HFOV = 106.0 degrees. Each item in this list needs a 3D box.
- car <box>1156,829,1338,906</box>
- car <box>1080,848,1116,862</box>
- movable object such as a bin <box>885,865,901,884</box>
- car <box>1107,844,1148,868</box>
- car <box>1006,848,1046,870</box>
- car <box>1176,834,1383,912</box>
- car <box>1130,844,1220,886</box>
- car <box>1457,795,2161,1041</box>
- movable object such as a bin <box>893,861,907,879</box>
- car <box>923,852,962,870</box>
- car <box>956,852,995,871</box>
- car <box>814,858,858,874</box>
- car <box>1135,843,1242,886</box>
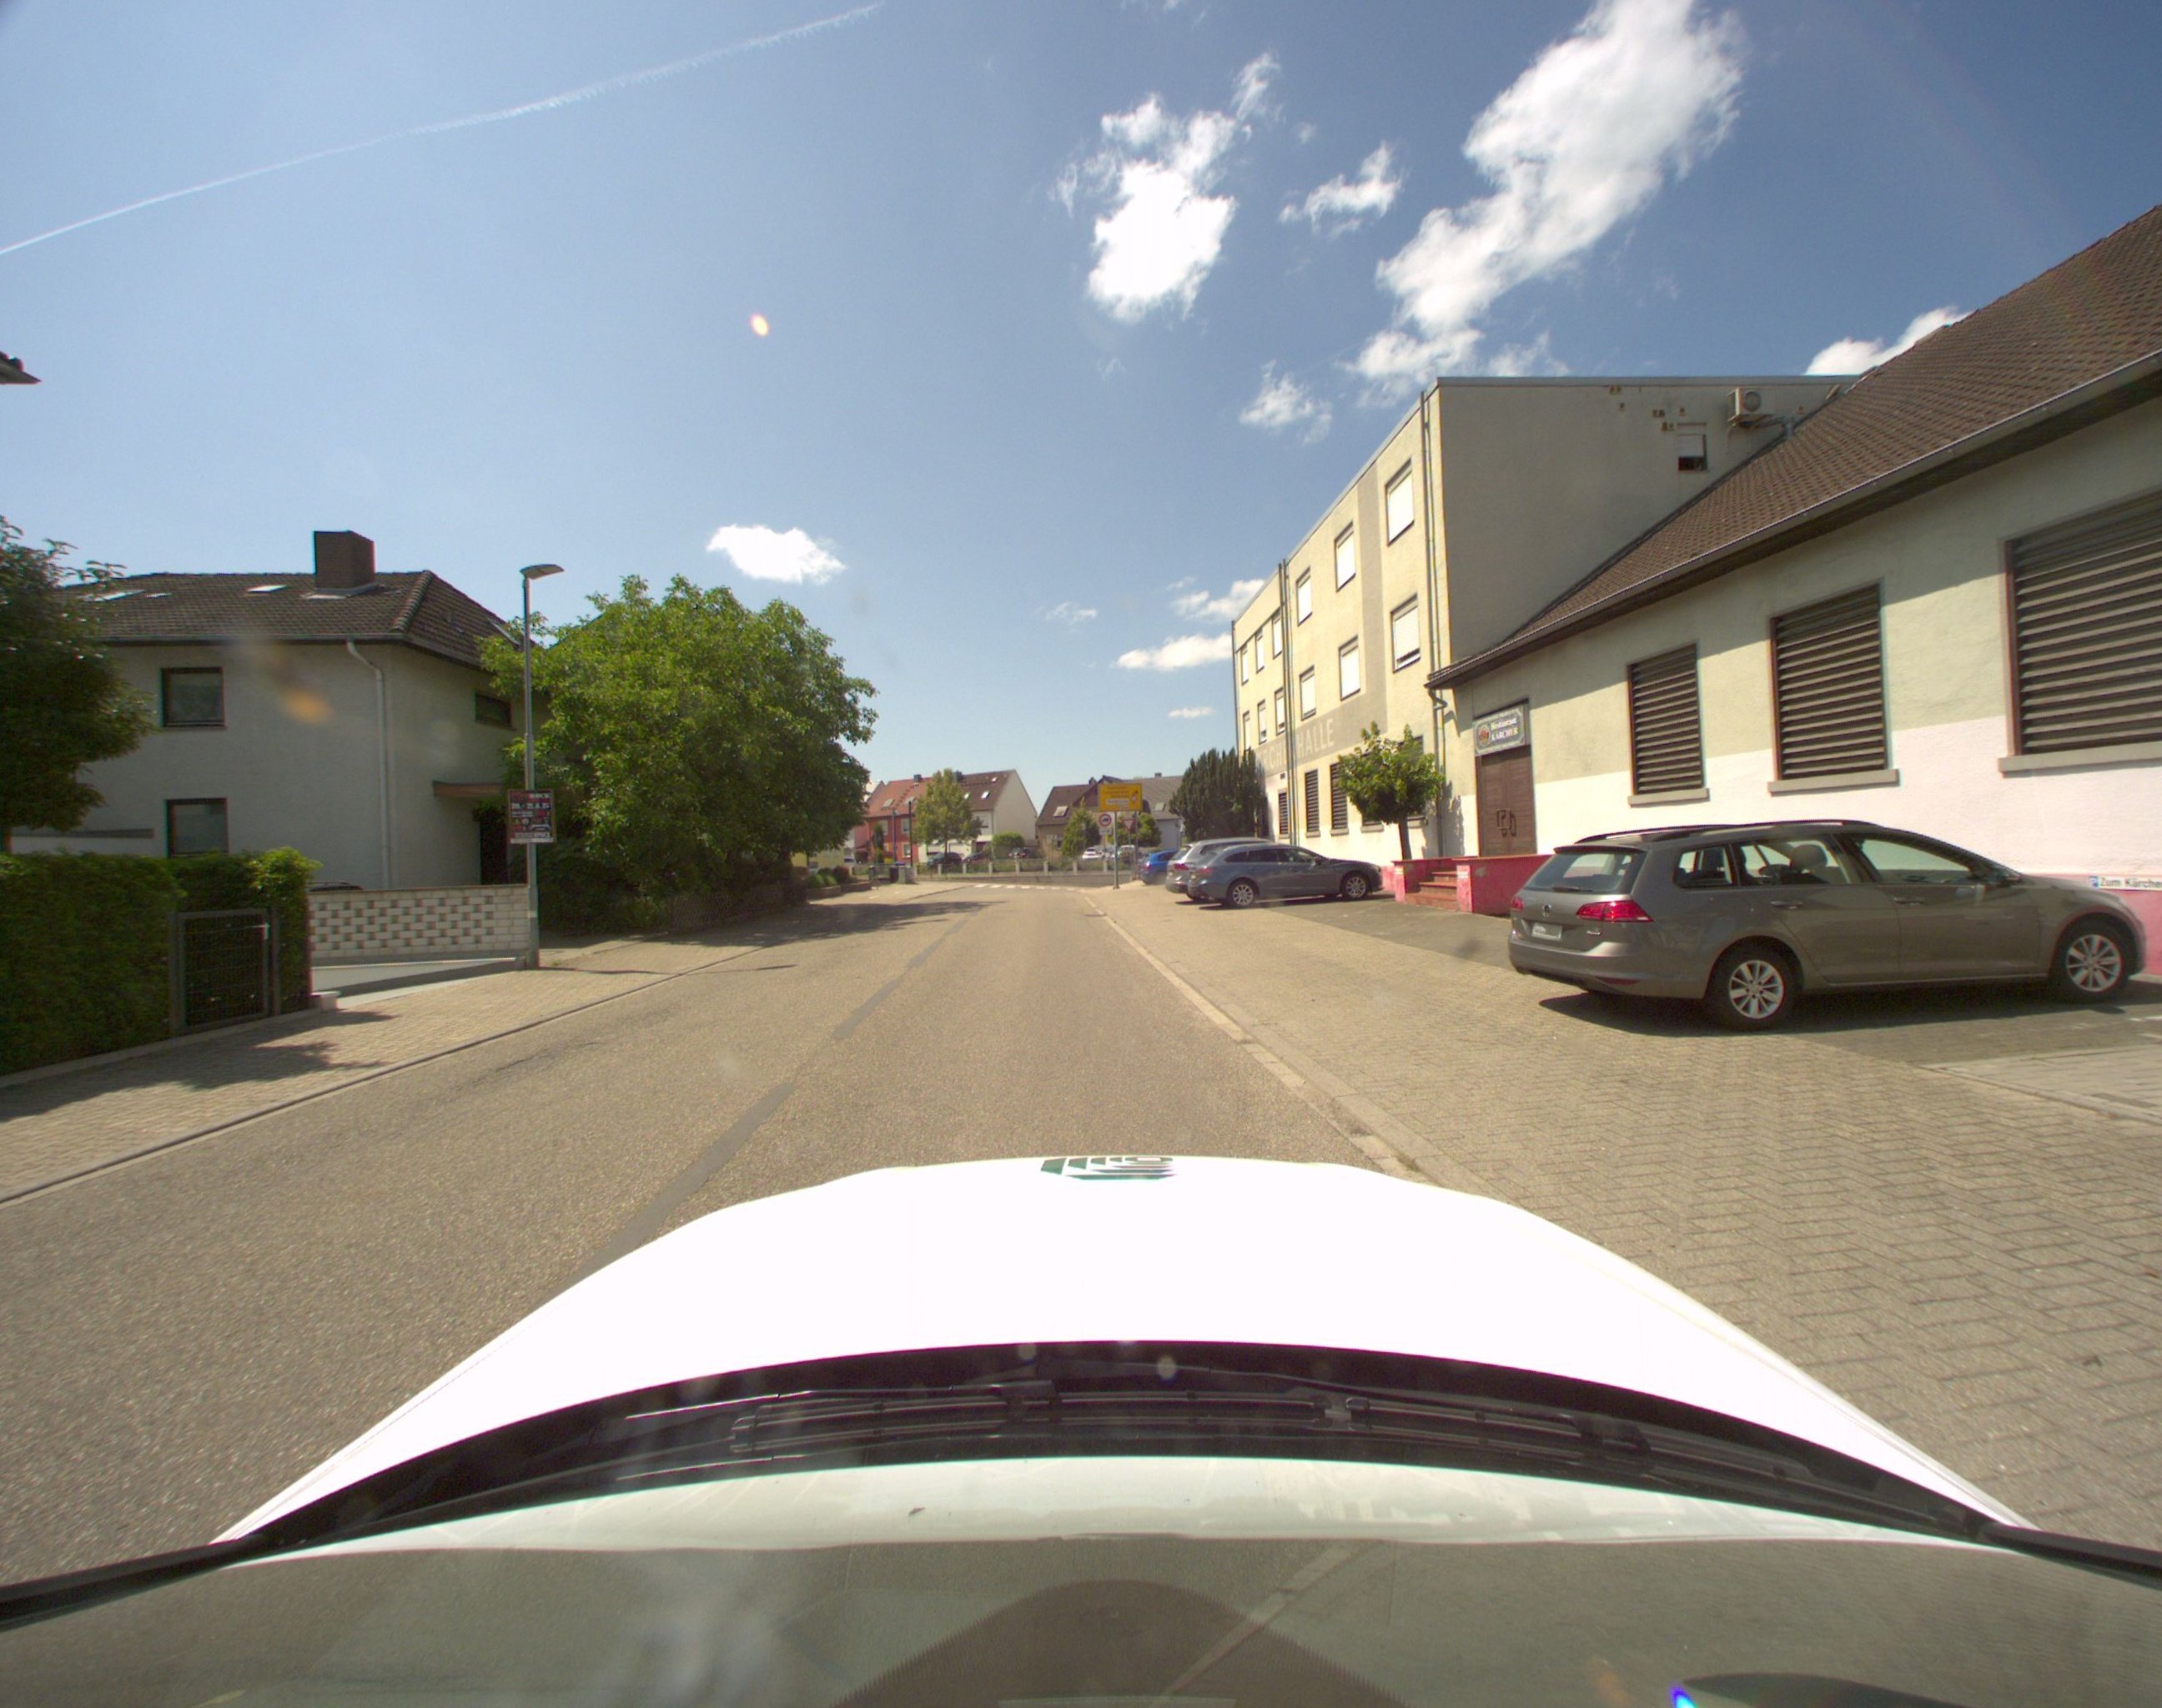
[{"bbox_3d":[4.457,0.345,22.245,4.447,1.697,1.919,-4,0,-6],"label":"car"},{"bbox_3d":[1.468,0.079,68.867,1.809,1.020,3.478,2,-1,23],"label":"car"},{"bbox_3d":[-12.354,1.328,53.503,0.882,1.225,0.901,-1,-1,-1],"label":"movable object such as a bin"},{"bbox_3d":[3.925,0.219,67.933,1.976,1.797,4.219,2,-1,23],"label":"car"},{"bbox_3d":[-4.834,0.448,72.061,1.851,1.797,4.021,2,-1,23],"label":"car"},{"bbox_3d":[4.761,0.427,19.989,4.492,1.519,1.997,-4,0,-5],"label":"car"},{"bbox_3d":[4.455,0.526,38.930,3.890,1.490,1.806,-7,-1,-6],"label":"car"},{"bbox_3d":[5.863,0.435,6.816,4.517,1.454,1.915,-4,0,-4],"label":"car"},{"bbox_3d":[-12.637,1.102,56.857,0.841,1.213,1.269,-1,-1,-16],"label":"movable object such as a bin"},{"bbox_3d":[-12.838,0.653,75.531,1.851,1.586,3.629,2,-1,23],"label":"car"},{"bbox_3d":[-9.508,0.703,73.734,1.851,1.586,3.629,2,-1,23],"label":"car"},{"bbox_3d":[-25.129,1.250,83.739,1.725,1.488,4.282,2,-1,30],"label":"car"},{"bbox_3d":[4.661,0.481,35.675,4.315,1.439,1.776,-5,-3,-5],"label":"car"}]
